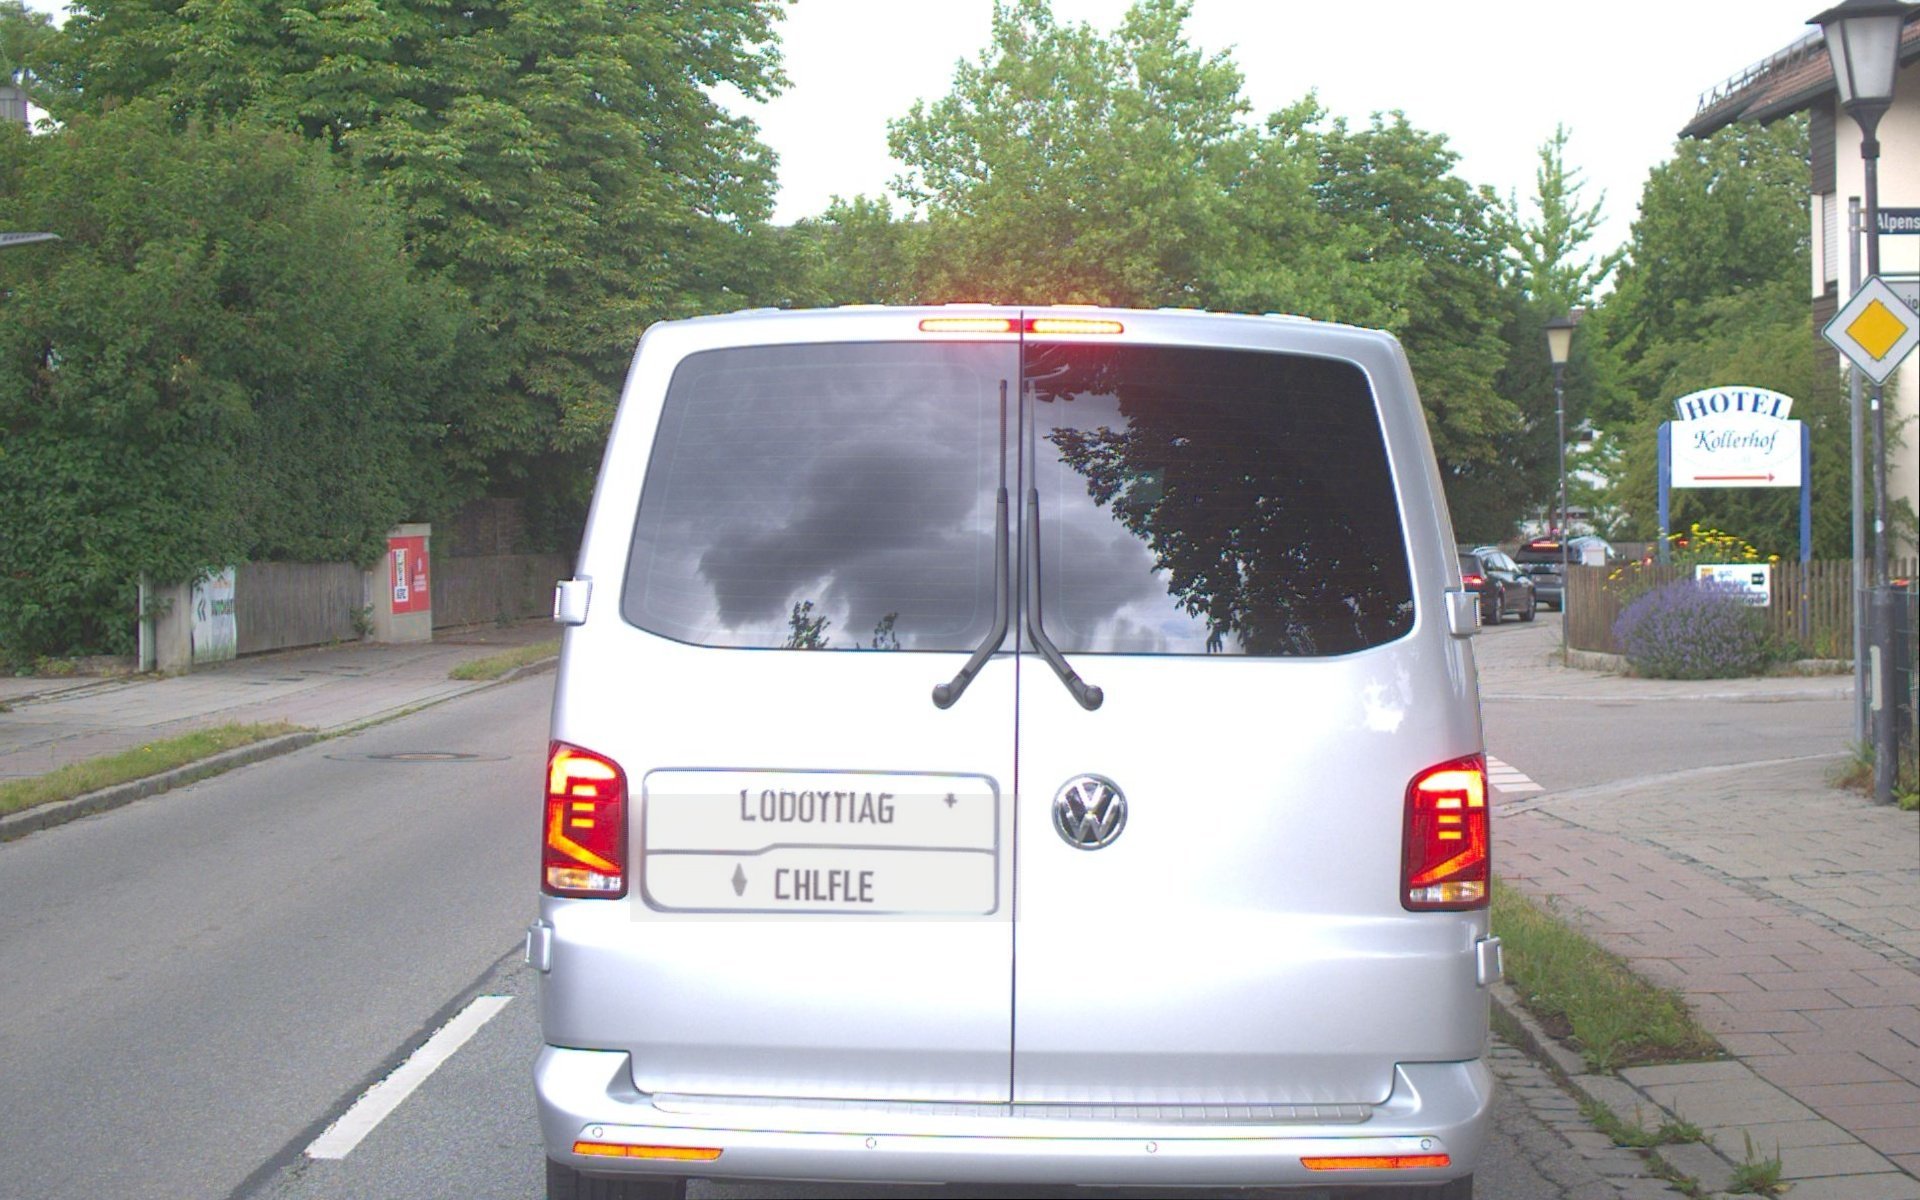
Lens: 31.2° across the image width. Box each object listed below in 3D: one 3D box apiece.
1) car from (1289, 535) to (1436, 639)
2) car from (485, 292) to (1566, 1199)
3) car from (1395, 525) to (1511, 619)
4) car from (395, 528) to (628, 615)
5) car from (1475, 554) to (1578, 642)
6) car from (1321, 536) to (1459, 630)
[{"bbox_3d":[6.210,-0.227,52.700,1.882,1.530,3.919,0,1,12],"label":"car"},{"bbox_3d":[0.134,0.401,7.984,1.881,1.934,3.921,0,1,1],"label":"car"},{"bbox_3d":[9.433,-0.553,65.542,1.882,1.742,4.078,0,1,12],"label":"car"},{"bbox_3d":[-7.850,-0.515,60.197,3.986,1.481,2.001,0,1,-8],"label":"car"},{"bbox_3d":[12.183,-0.065,73.787,1.882,1.819,3.918,0,1,14],"label":"car"},{"bbox_3d":[7.321,-0.305,58.222,1.882,1.530,3.918,0,1,14],"label":"car"}]
